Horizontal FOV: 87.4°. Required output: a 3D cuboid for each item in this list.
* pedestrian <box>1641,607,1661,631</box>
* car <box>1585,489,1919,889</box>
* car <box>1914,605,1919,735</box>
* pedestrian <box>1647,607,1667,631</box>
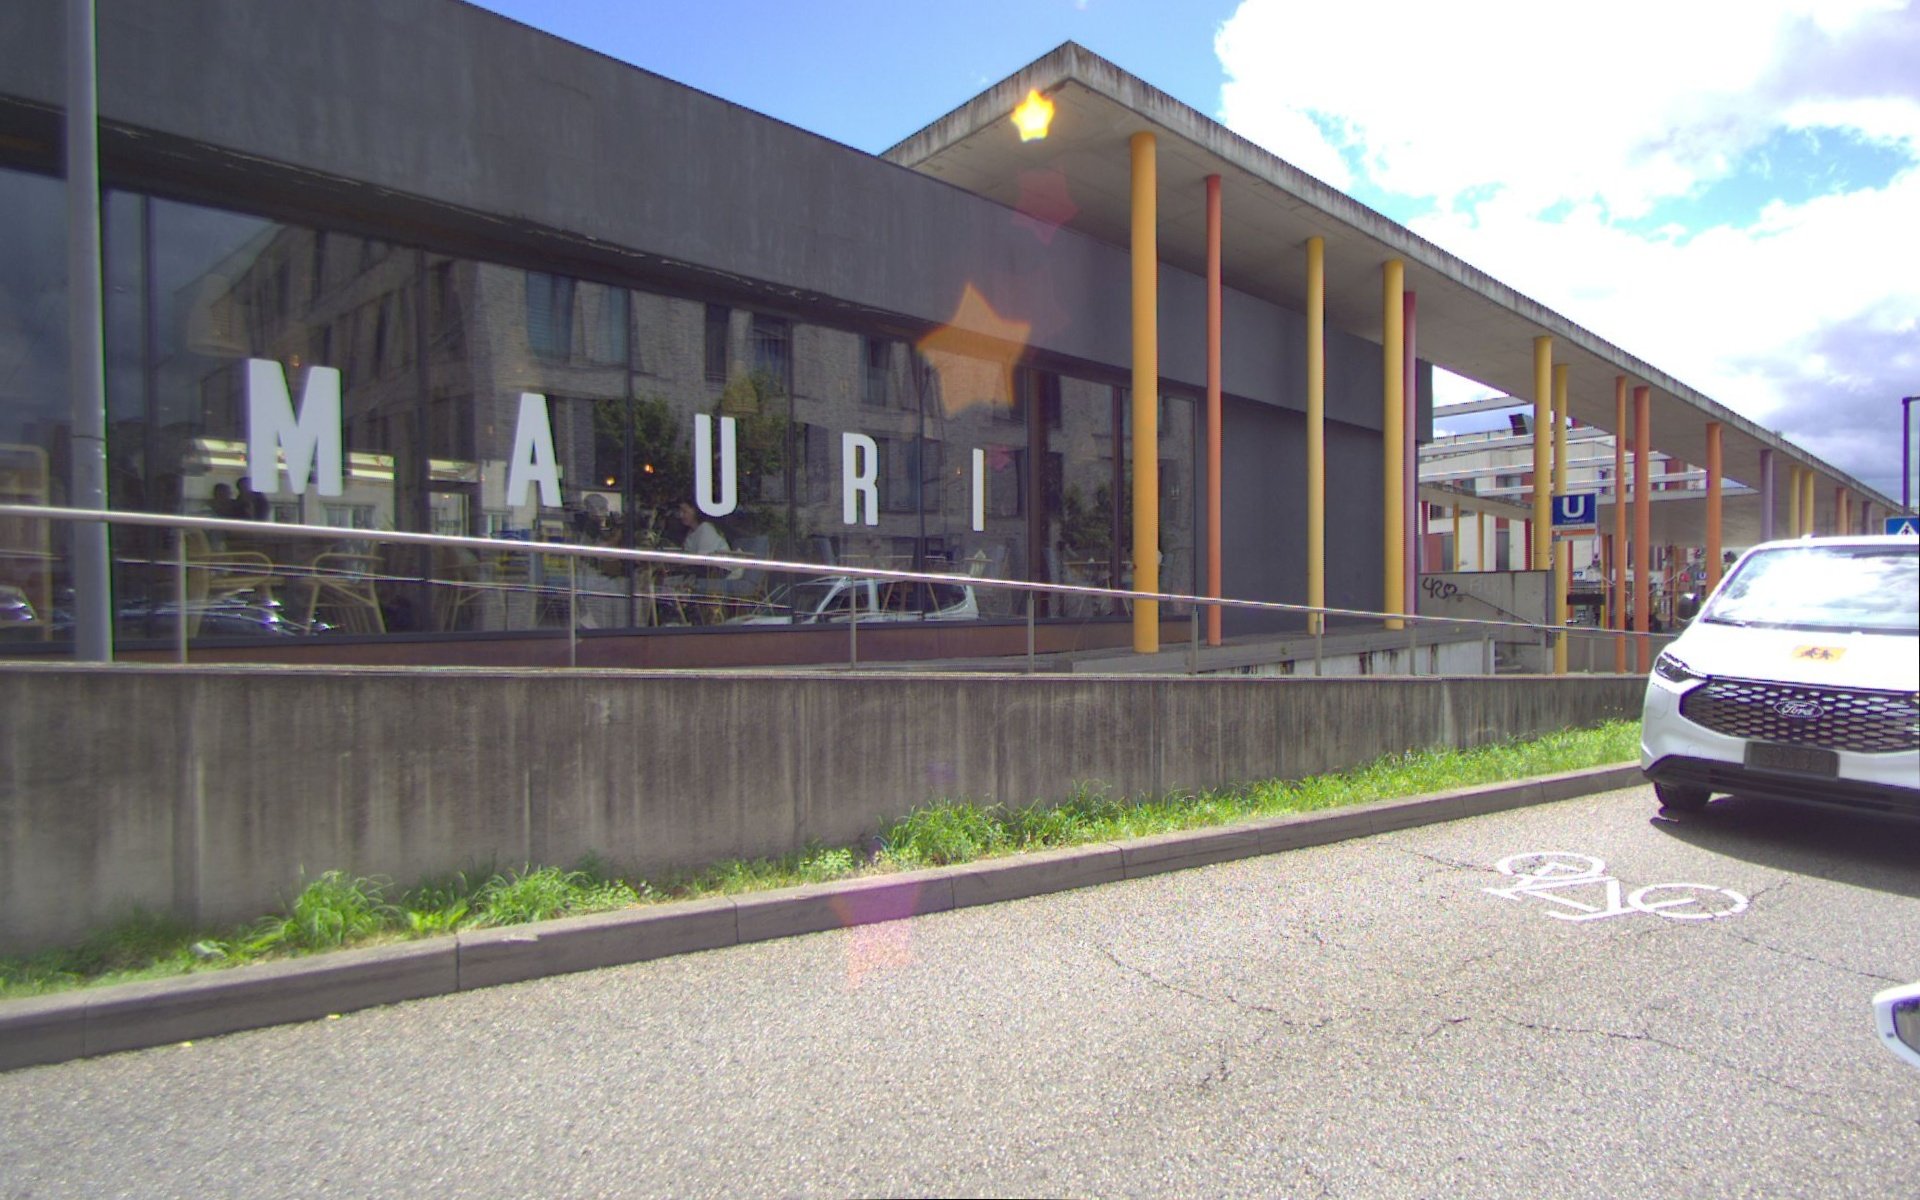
[{"bbox_3d":[41.386,1.118,60.171,0.696,1.398,0.815,-2,3,-41],"label":"pedestrian"},{"bbox_3d":[6.740,0.449,7.162,5.341,2.041,1.980,0,2,-36],"label":"car"},{"bbox_3d":[13.074,0.816,12.089,4.198,1.484,1.758,0,1,-39],"label":"car"},{"bbox_3d":[42.191,1.137,60.786,0.696,1.398,0.815,-2,3,-41],"label":"pedestrian"}]
